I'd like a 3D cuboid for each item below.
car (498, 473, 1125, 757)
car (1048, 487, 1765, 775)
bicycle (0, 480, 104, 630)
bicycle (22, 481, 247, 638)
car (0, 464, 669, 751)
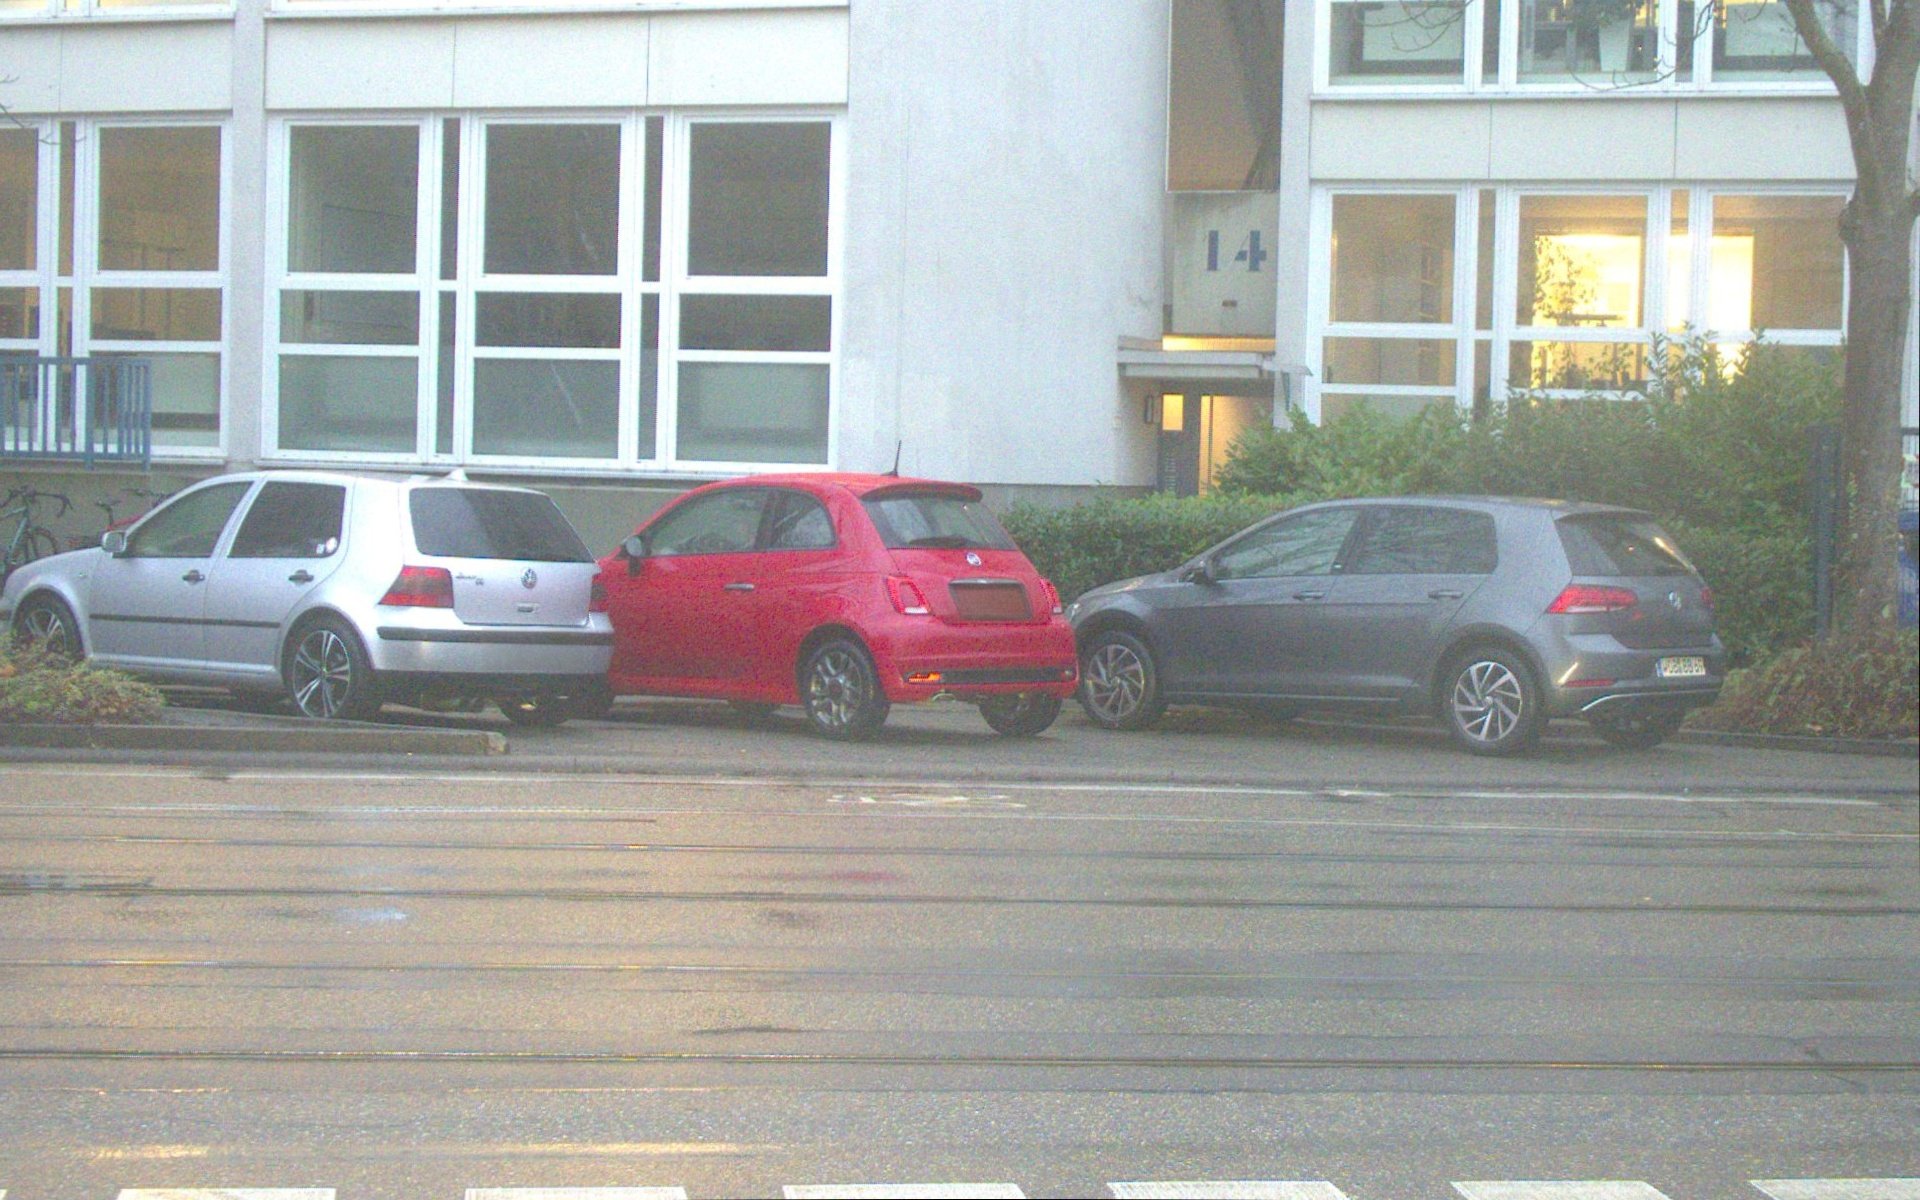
[{"bbox_3d":[-0.923,0.023,20.232,3.448,1.487,1.725,3,3,42],"label":"car"},{"bbox_3d":[2.560,0.110,20.197,3.850,1.487,1.692,3,3,40],"label":"car"},{"bbox_3d":[-7.369,-0.355,26.158,0.640,1.117,2.204,1,2,16],"label":"bicycle"},{"bbox_3d":[-6.174,-0.325,25.845,0.640,1.117,2.204,1,2,16],"label":"bicycle"},{"bbox_3d":[-3.750,-0.028,19.627,3.996,1.441,1.789,2,3,38],"label":"car"}]
